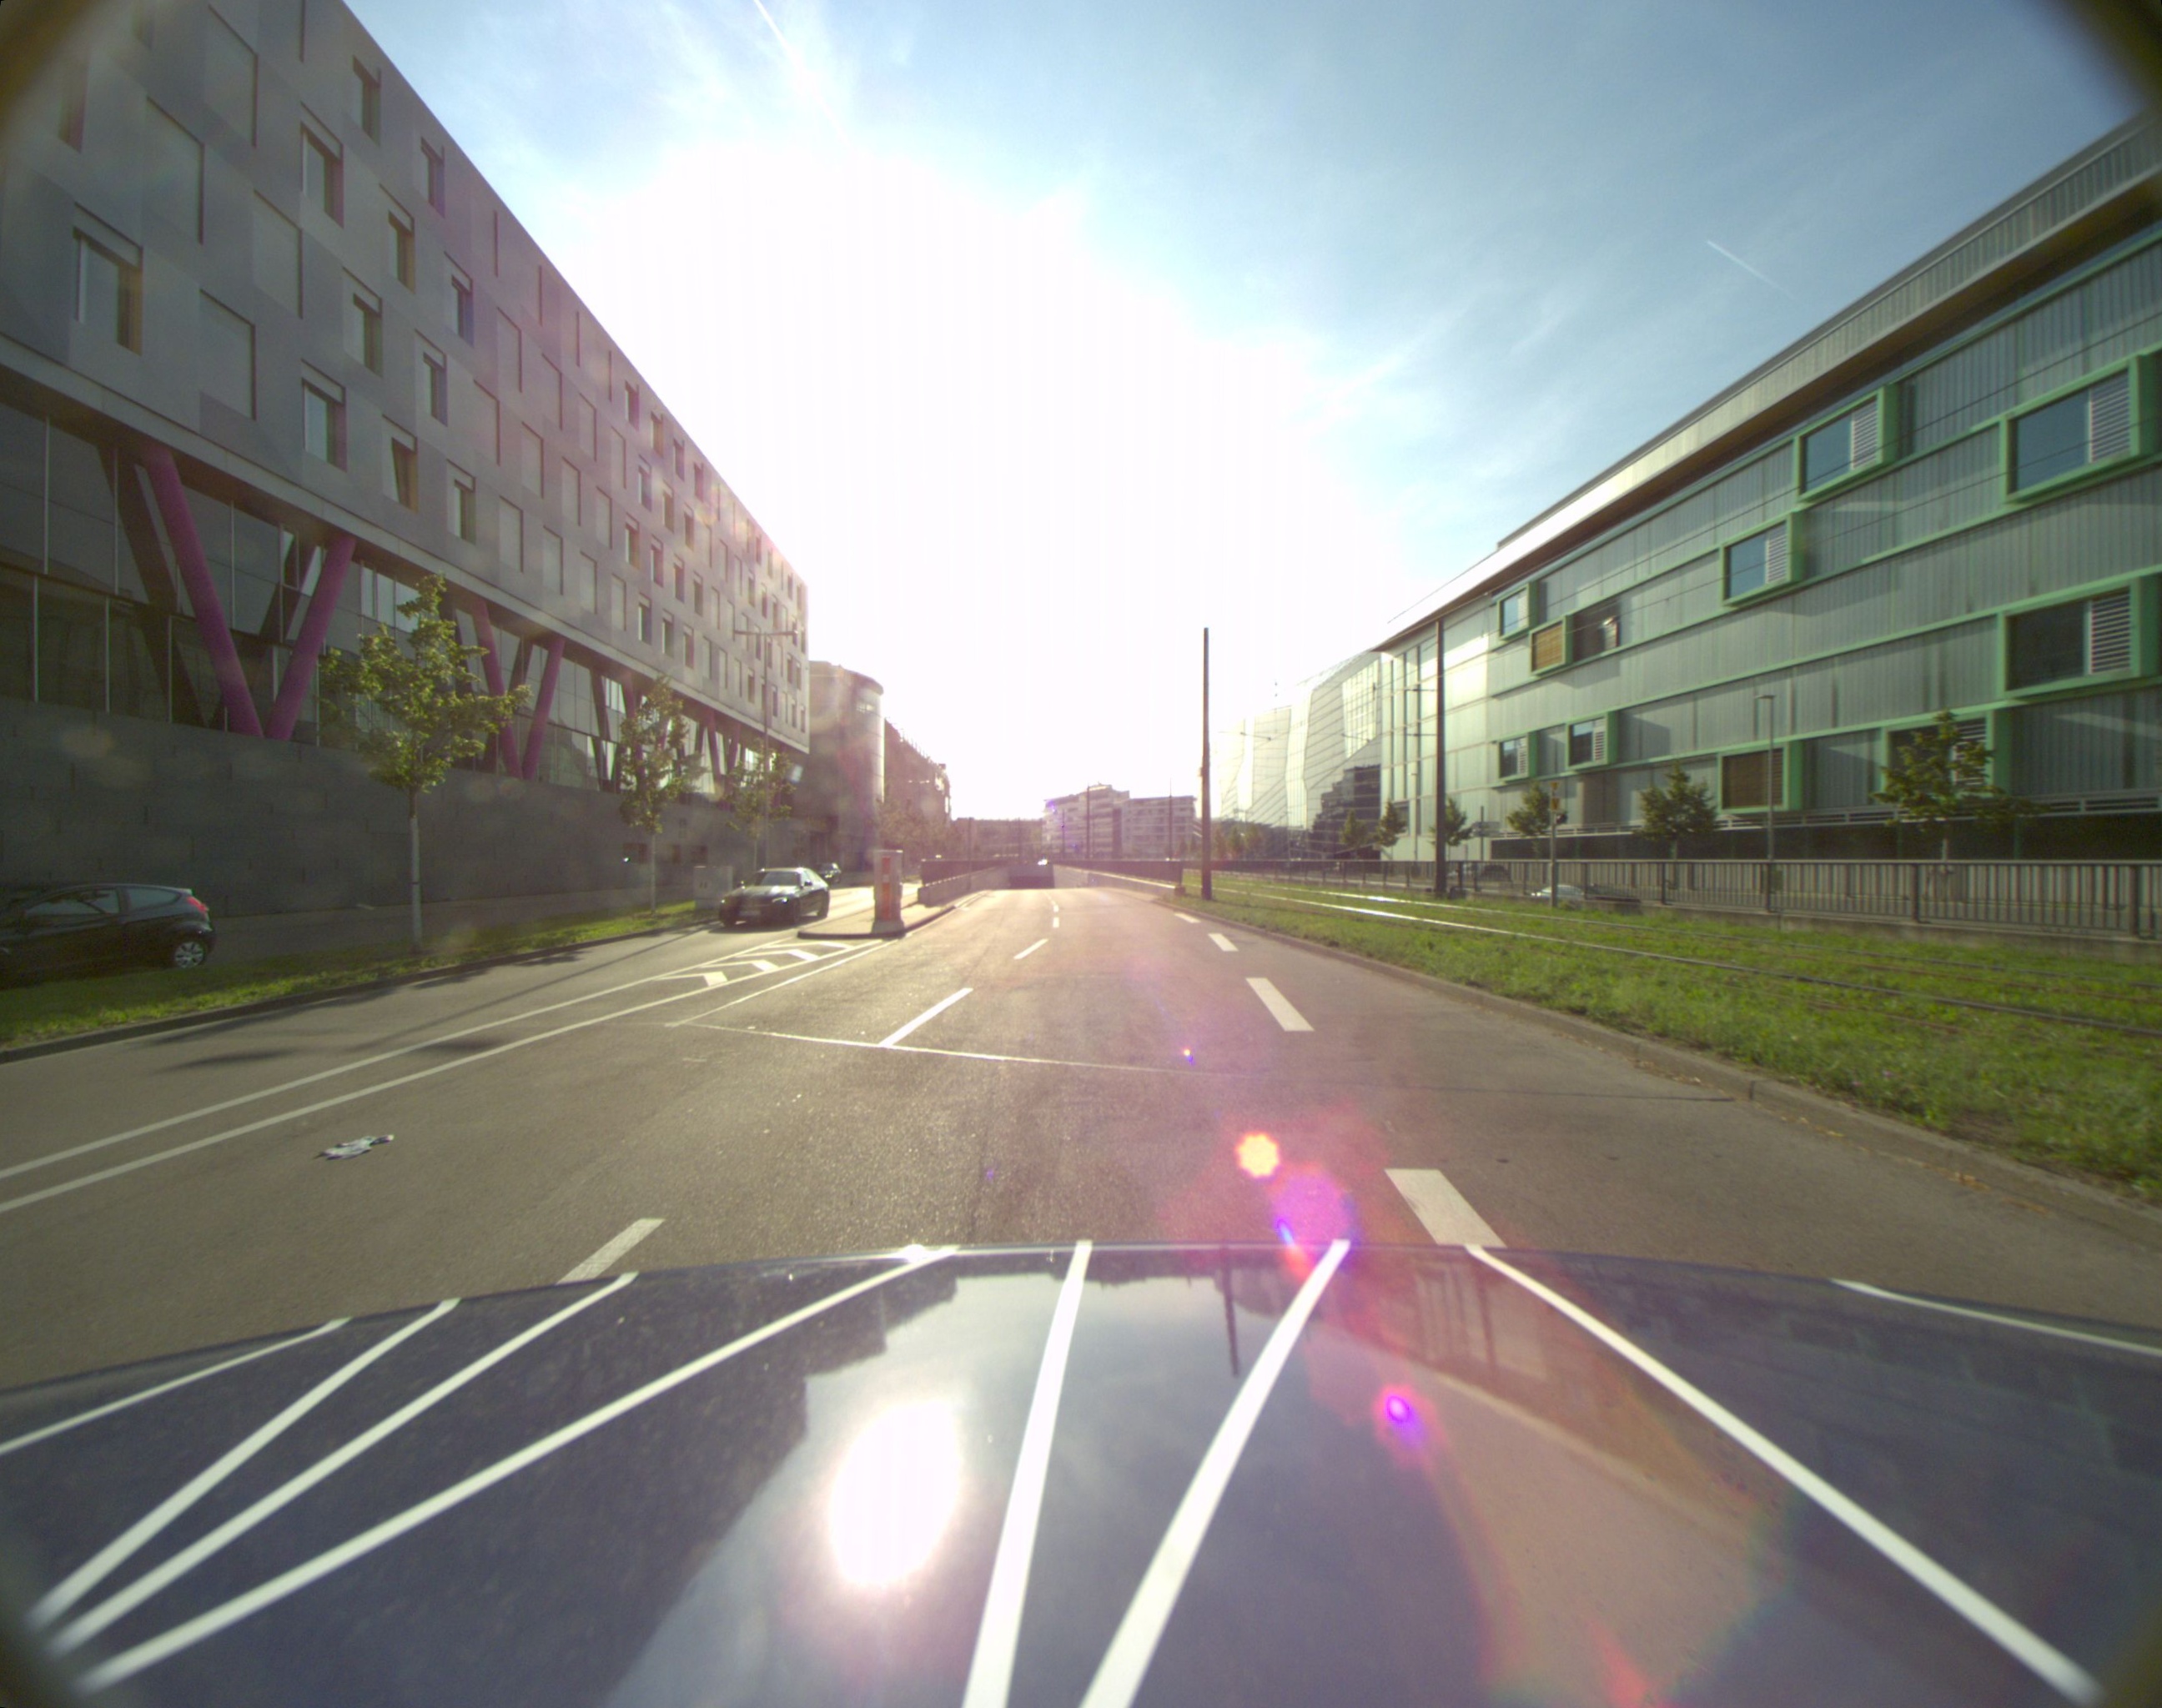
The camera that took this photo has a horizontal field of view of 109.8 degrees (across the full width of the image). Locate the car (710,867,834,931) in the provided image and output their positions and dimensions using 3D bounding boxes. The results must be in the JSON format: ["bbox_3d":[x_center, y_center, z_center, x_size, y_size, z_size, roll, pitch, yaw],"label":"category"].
[{"bbox_3d":[-8.287,1.138,20.883,1.844,1.441,4.553,-1,0,-5],"label":"car"}]

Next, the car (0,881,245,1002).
[{"bbox_3d":[-14.239,1.133,10.157,1.697,1.382,4.196,0,0,-5],"label":"car"}]

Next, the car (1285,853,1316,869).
[{"bbox_3d":[22.456,0.656,77.729,1.775,1.597,4.026,0,0,-4],"label":"car"}]

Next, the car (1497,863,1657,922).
[{"bbox_3d":[16.341,1.188,25.390,1.999,1.677,4.724,0,0,-4],"label":"car"}]

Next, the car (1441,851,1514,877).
[{"bbox_3d":[22.291,0.541,42.885,1.665,1.414,4.184,0,0,-4],"label":"car"}]

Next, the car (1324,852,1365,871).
[{"bbox_3d":[21.133,0.578,61.125,1.775,1.478,4.026,0,0,-3],"label":"car"}]

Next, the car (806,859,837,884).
[{"bbox_3d":[-18.124,1.178,53.120,1.897,1.418,4.464,-1,2,-19],"label":"car"}]
